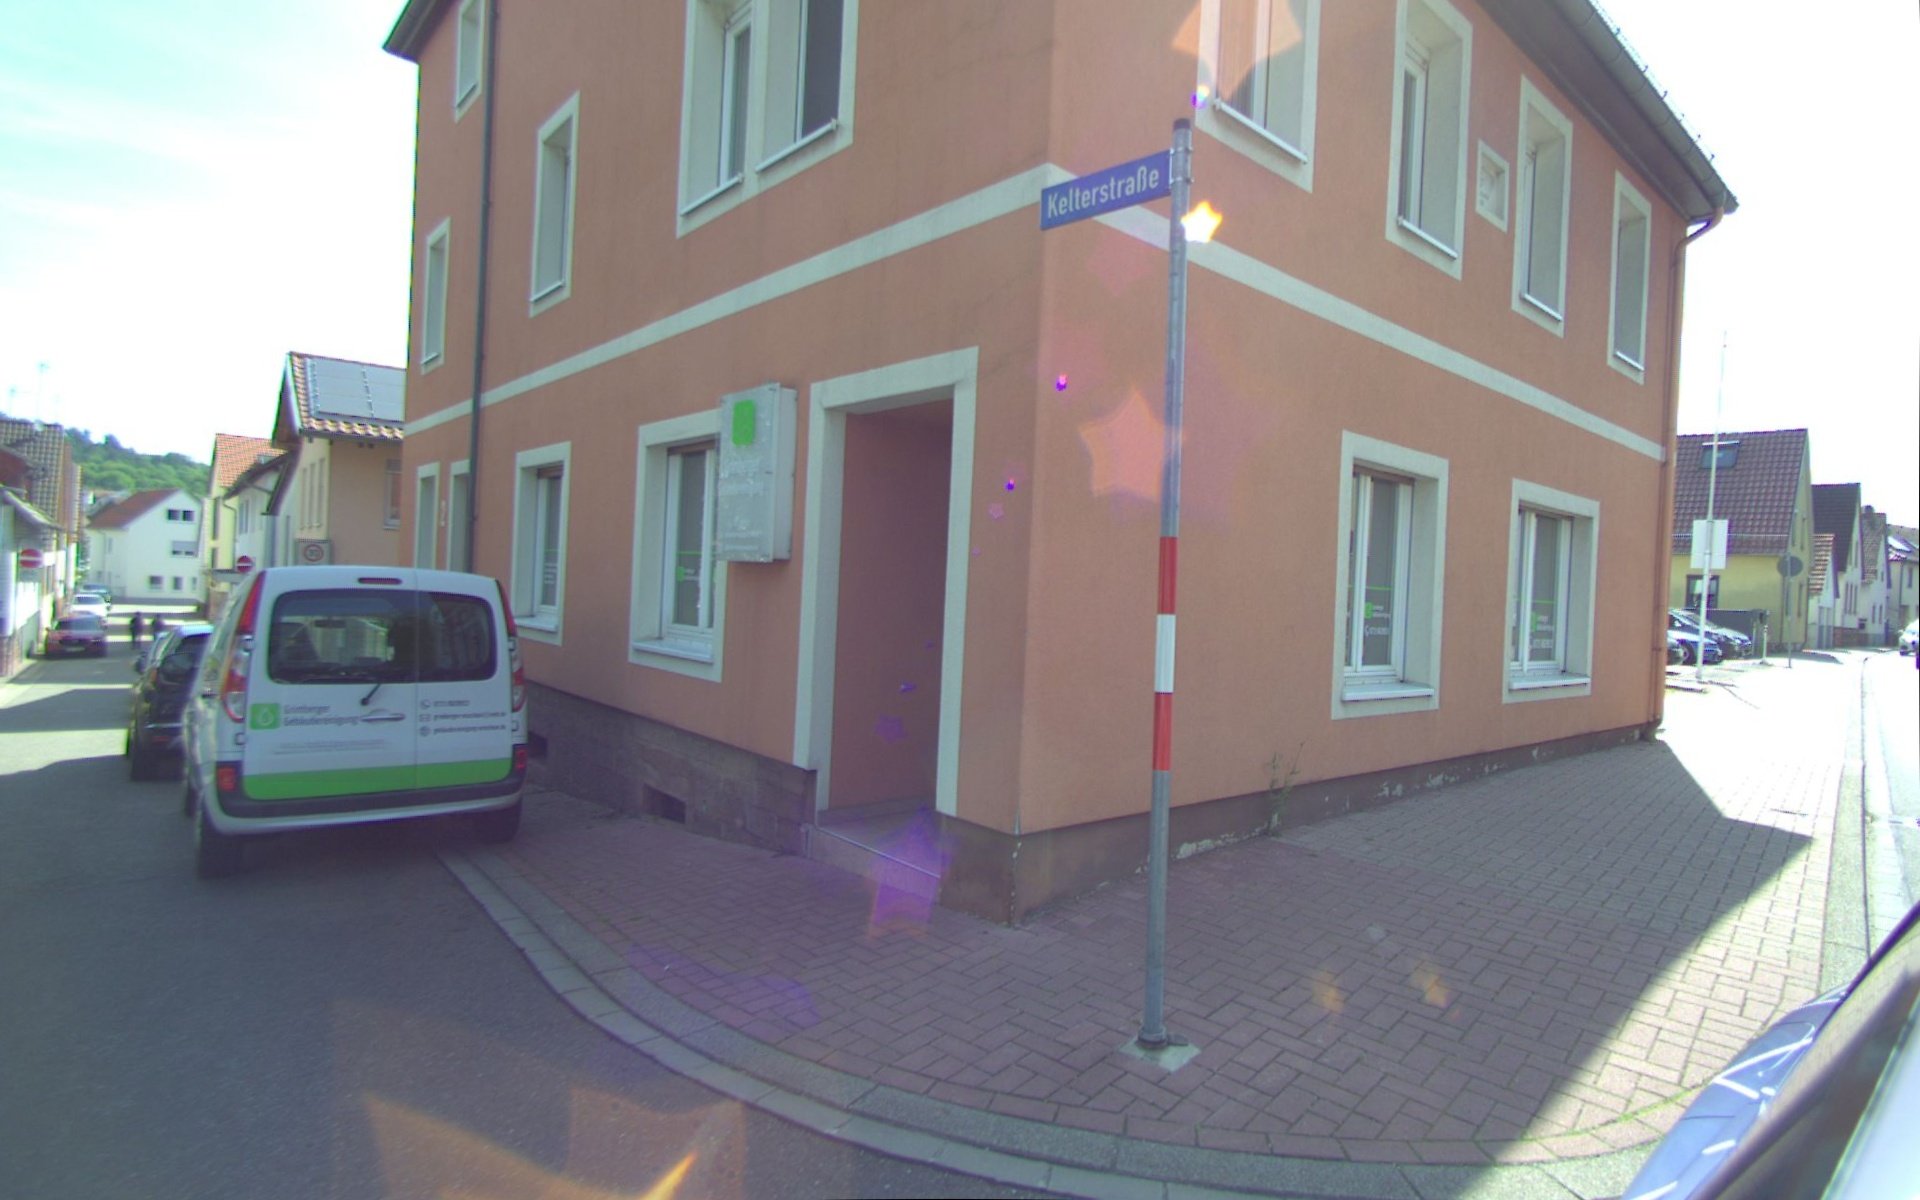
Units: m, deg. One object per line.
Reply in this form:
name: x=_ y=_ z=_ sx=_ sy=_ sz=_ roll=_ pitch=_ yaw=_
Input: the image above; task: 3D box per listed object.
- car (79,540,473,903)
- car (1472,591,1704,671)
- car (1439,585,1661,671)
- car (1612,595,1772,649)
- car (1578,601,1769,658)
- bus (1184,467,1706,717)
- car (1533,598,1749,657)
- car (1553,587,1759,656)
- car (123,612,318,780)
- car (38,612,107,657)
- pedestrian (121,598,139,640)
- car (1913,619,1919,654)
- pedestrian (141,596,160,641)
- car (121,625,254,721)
car: x=-4.891 y=0.661 z=7.140 sx=1.779 sy=1.776 sz=4.095 roll=-1 pitch=-2 yaw=-38
car: x=14.221 y=0.647 z=23.088 sx=1.698 sy=1.499 sz=4.166 roll=1 pitch=2 yaw=-43
car: x=12.480 y=0.533 z=21.546 sx=3.801 sy=1.547 sz=1.557 roll=4 pitch=2 yaw=44
car: x=26.009 y=0.745 z=36.087 sx=1.707 sy=1.767 sz=4.337 roll=-2 pitch=1 yaw=-39
car: x=22.527 y=0.887 z=32.097 sx=1.878 sy=1.516 sz=4.641 roll=1 pitch=1 yaw=-43
bus: x=6.772 y=-0.261 z=15.038 sx=2.192 sy=2.941 sz=6.575 roll=0 pitch=3 yaw=-43
car: x=18.458 y=0.698 z=27.584 sx=1.932 sy=1.283 sz=4.545 roll=1 pitch=1 yaw=-43
car: x=20.147 y=0.580 z=29.442 sx=1.932 sy=1.833 sz=4.640 roll=0 pitch=0 yaw=-42
car: x=-8.351 y=0.979 z=11.327 sx=1.549 sy=1.545 sz=3.496 roll=0 pitch=-2 yaw=-40
car: x=-34.117 y=1.300 z=39.002 sx=1.822 sy=1.614 sz=4.031 roll=-1 pitch=-1 yaw=-39
pedestrian: x=-35.220 y=0.805 z=42.960 sx=0.535 sy=1.774 sz=0.589 roll=0 pitch=-1 yaw=-34
car: x=47.569 y=1.790 z=49.188 sx=1.775 sy=1.561 sz=4.035 roll=1 pitch=1 yaw=43
pedestrian: x=-34.400 y=0.774 z=43.002 sx=0.583 sy=1.864 sz=0.686 roll=0 pitch=-1 yaw=-34
car: x=-15.175 y=1.325 z=19.843 sx=1.905 sy=1.614 sz=4.031 roll=-1 pitch=-1 yaw=-39
